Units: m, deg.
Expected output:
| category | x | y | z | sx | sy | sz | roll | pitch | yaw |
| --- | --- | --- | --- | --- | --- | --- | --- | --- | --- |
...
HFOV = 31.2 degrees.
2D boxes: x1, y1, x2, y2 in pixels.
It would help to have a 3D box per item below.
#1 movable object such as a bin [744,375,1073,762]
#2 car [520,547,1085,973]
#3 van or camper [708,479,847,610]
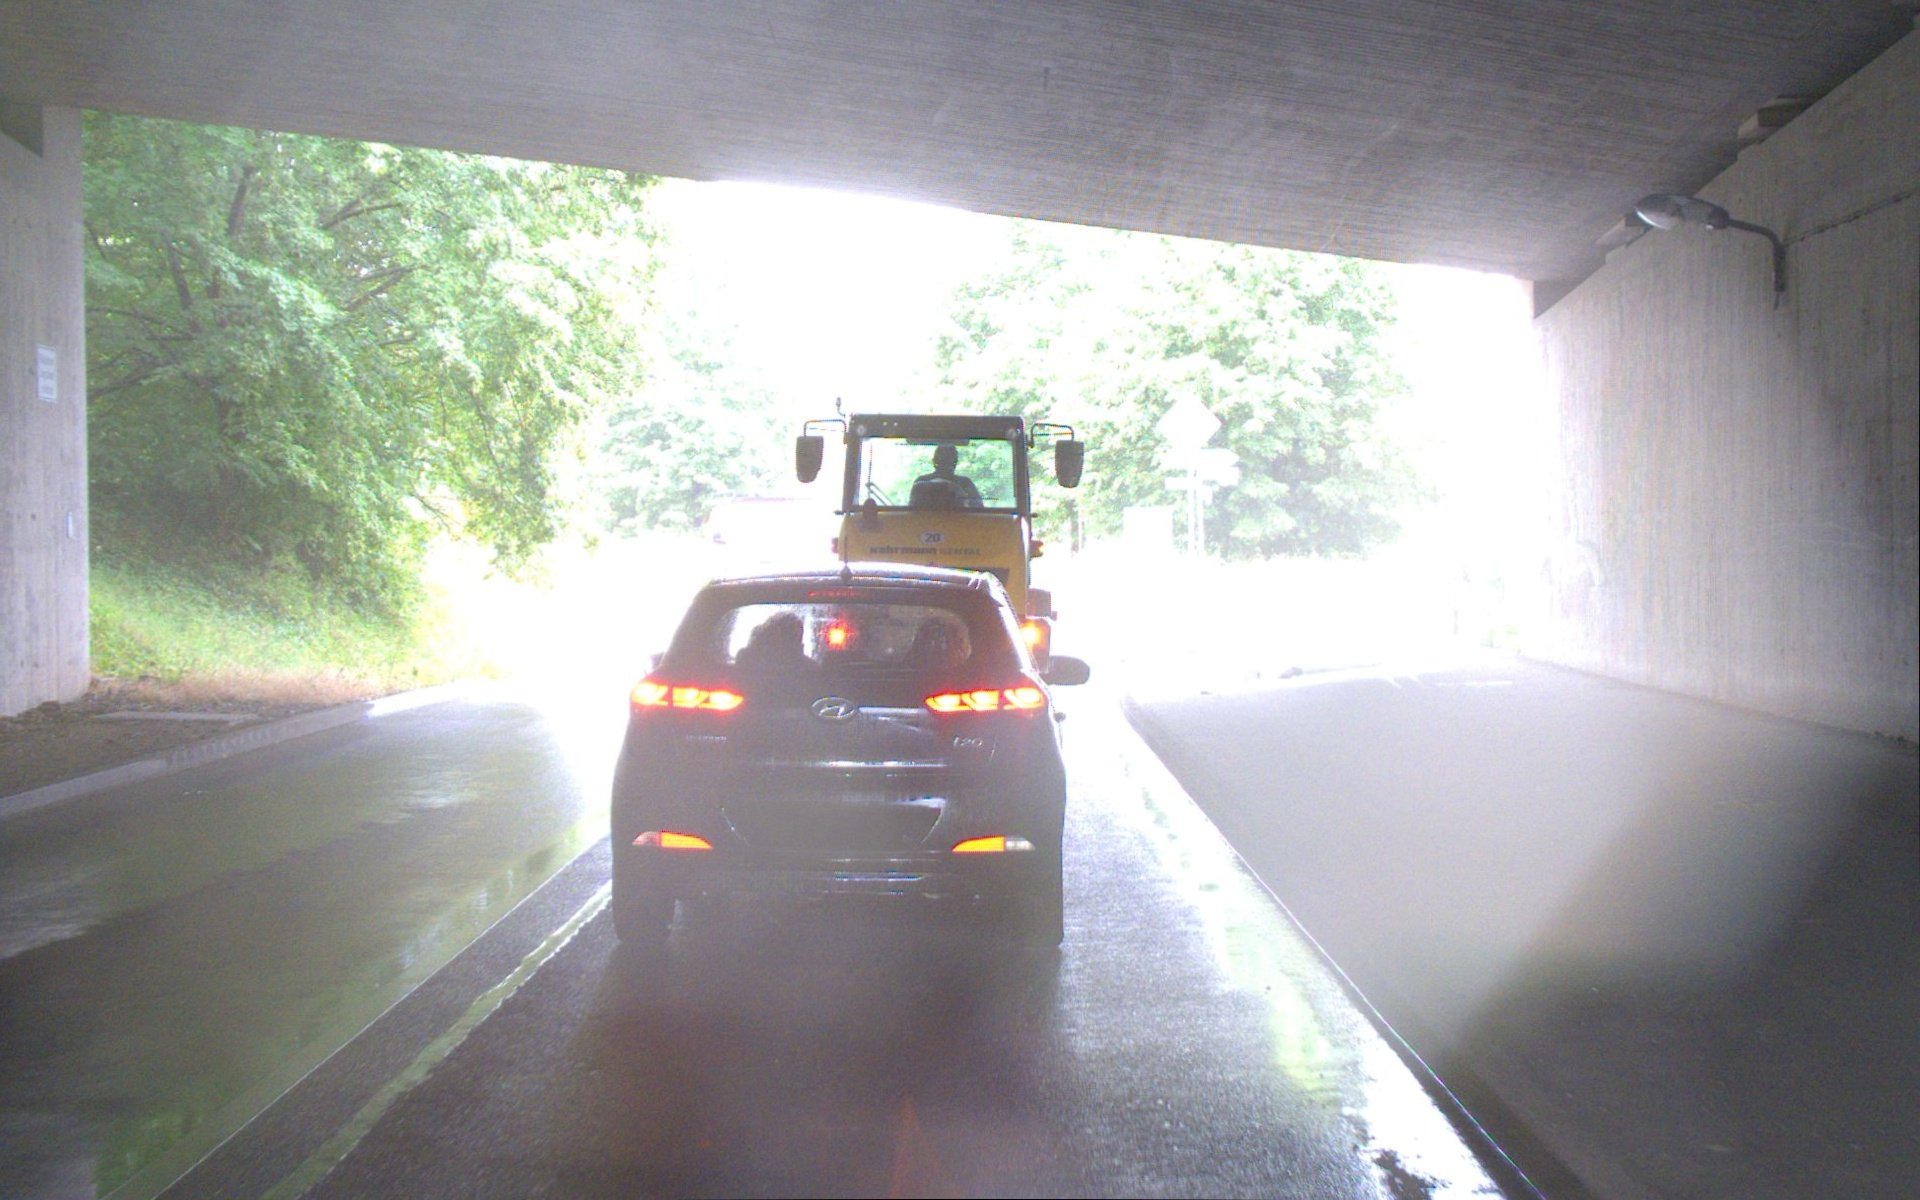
| category | x | y | z | sx | sy | sz | roll | pitch | yaw |
| --- | --- | --- | --- | --- | --- | --- | --- | --- | --- |
| movable object such as a bin | -0.412 | -0.276 | 27.410 | 2.245 | 2.660 | 6.627 | 1 | 1 | -1 |
| car | -0.670 | 0.547 | 14.328 | 1.993 | 1.482 | 4.001 | 1 | 1 | -3 |
| van or camper | -3.042 | -0.940 | 58.239 | 1.993 | 2.091 | 4.691 | 1 | 1 | 1 |
